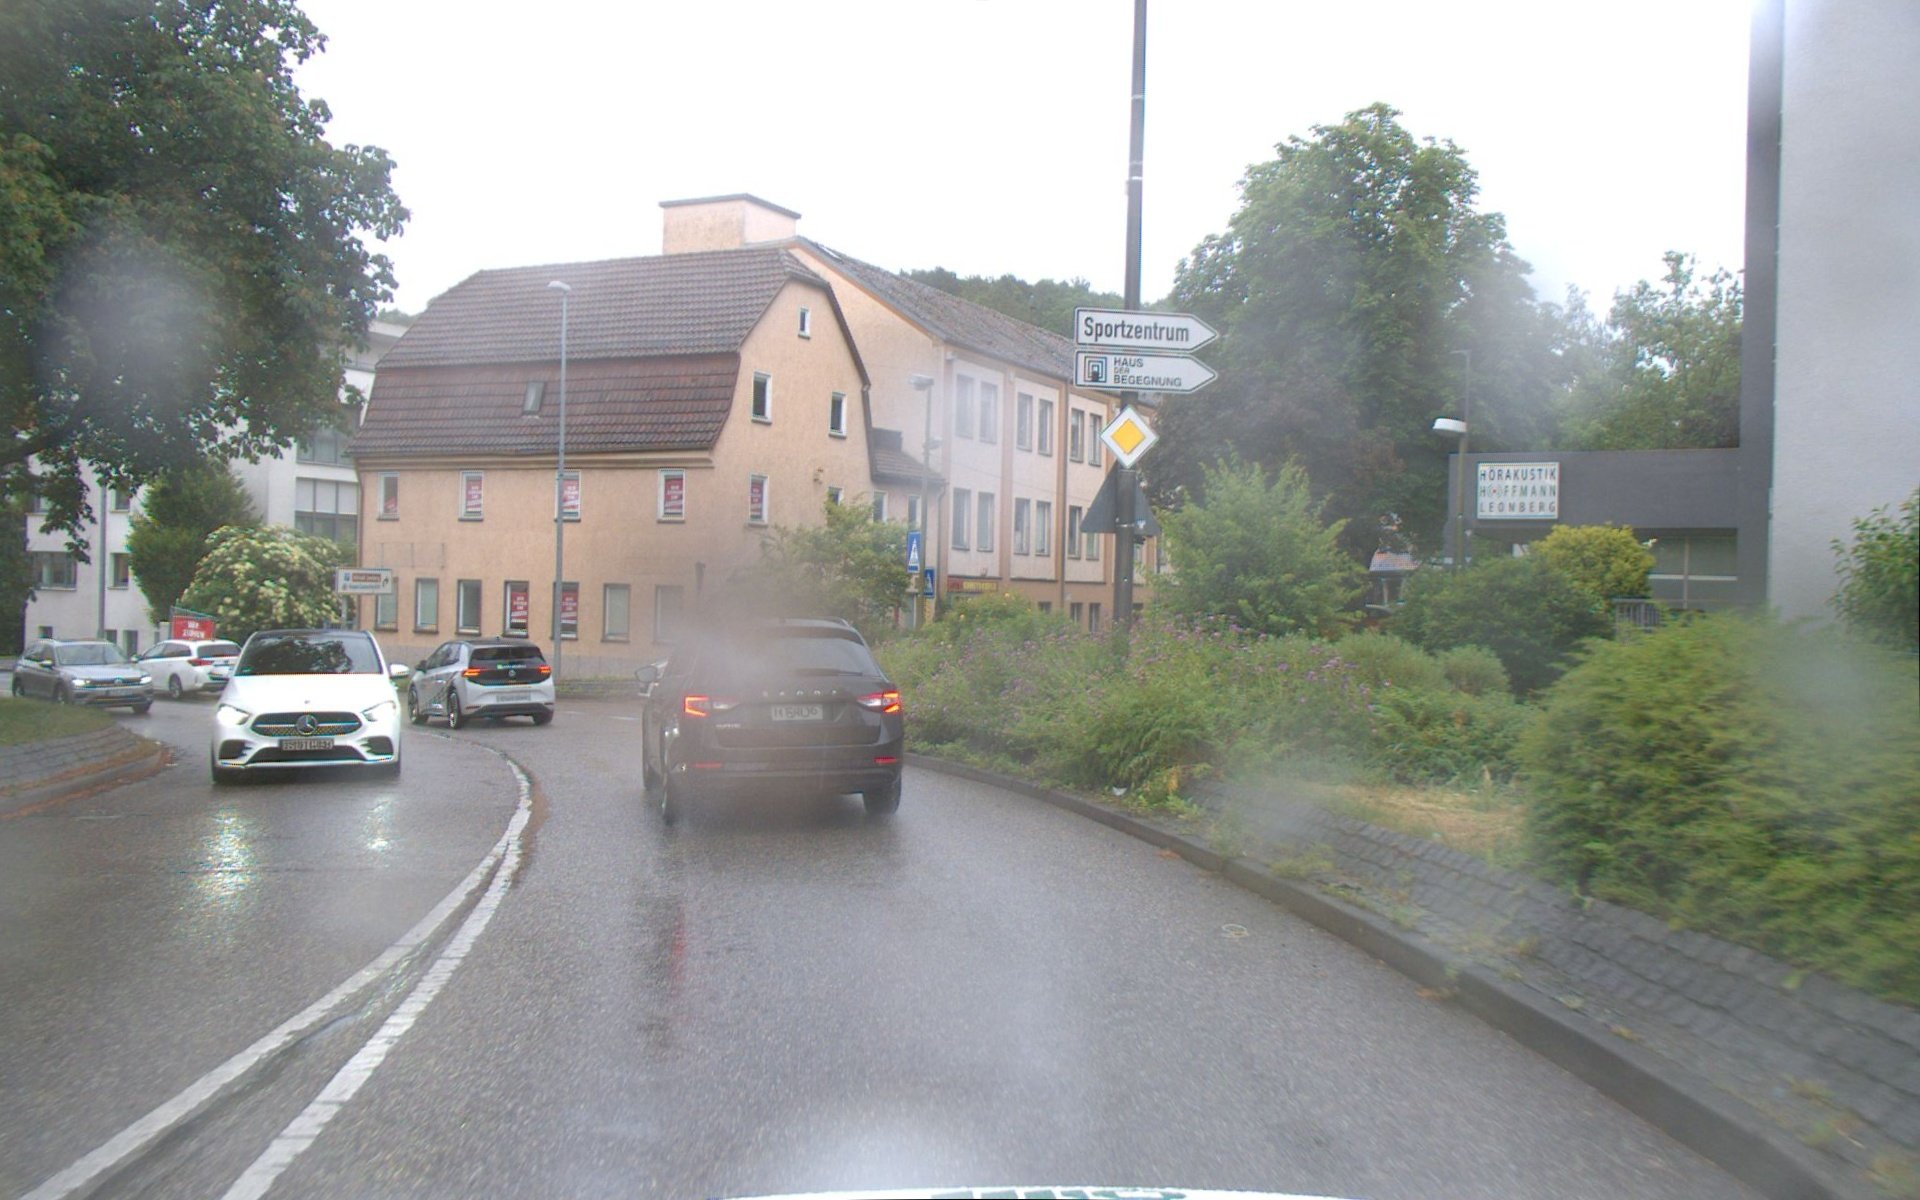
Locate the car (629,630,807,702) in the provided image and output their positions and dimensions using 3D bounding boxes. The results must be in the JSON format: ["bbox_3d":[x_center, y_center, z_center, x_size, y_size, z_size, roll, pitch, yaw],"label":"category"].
[{"bbox_3d":[-5.521,1.469,37.793,3.704,1.478,1.698,-1,0,-26],"label":"car"}]

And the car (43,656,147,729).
[{"bbox_3d":[-19.961,2.114,38.098,1.712,1.570,4.250,1,-3,-33],"label":"car"}]

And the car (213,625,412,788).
[{"bbox_3d":[-6.873,1.048,17.901,1.696,1.531,4.237,0,-1,-17],"label":"car"}]

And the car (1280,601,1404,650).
[{"bbox_3d":[12.959,0.869,56.123,3.815,1.600,1.717,-1,0,27],"label":"car"}]

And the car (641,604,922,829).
[{"bbox_3d":[-1.618,0.858,13.521,1.751,1.509,4.230,0,-2,-14],"label":"car"}]

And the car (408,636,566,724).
[{"bbox_3d":[-8.674,1.408,30.126,1.800,1.383,3.947,1,0,-31],"label":"car"}]

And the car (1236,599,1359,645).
[{"bbox_3d":[12.279,0.806,60.209,4.310,1.600,1.720,-1,0,12],"label":"car"}]

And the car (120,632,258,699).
[{"bbox_3d":[-19.803,1.707,42.447,4.108,1.618,1.723,-3,-4,41],"label":"car"}]
